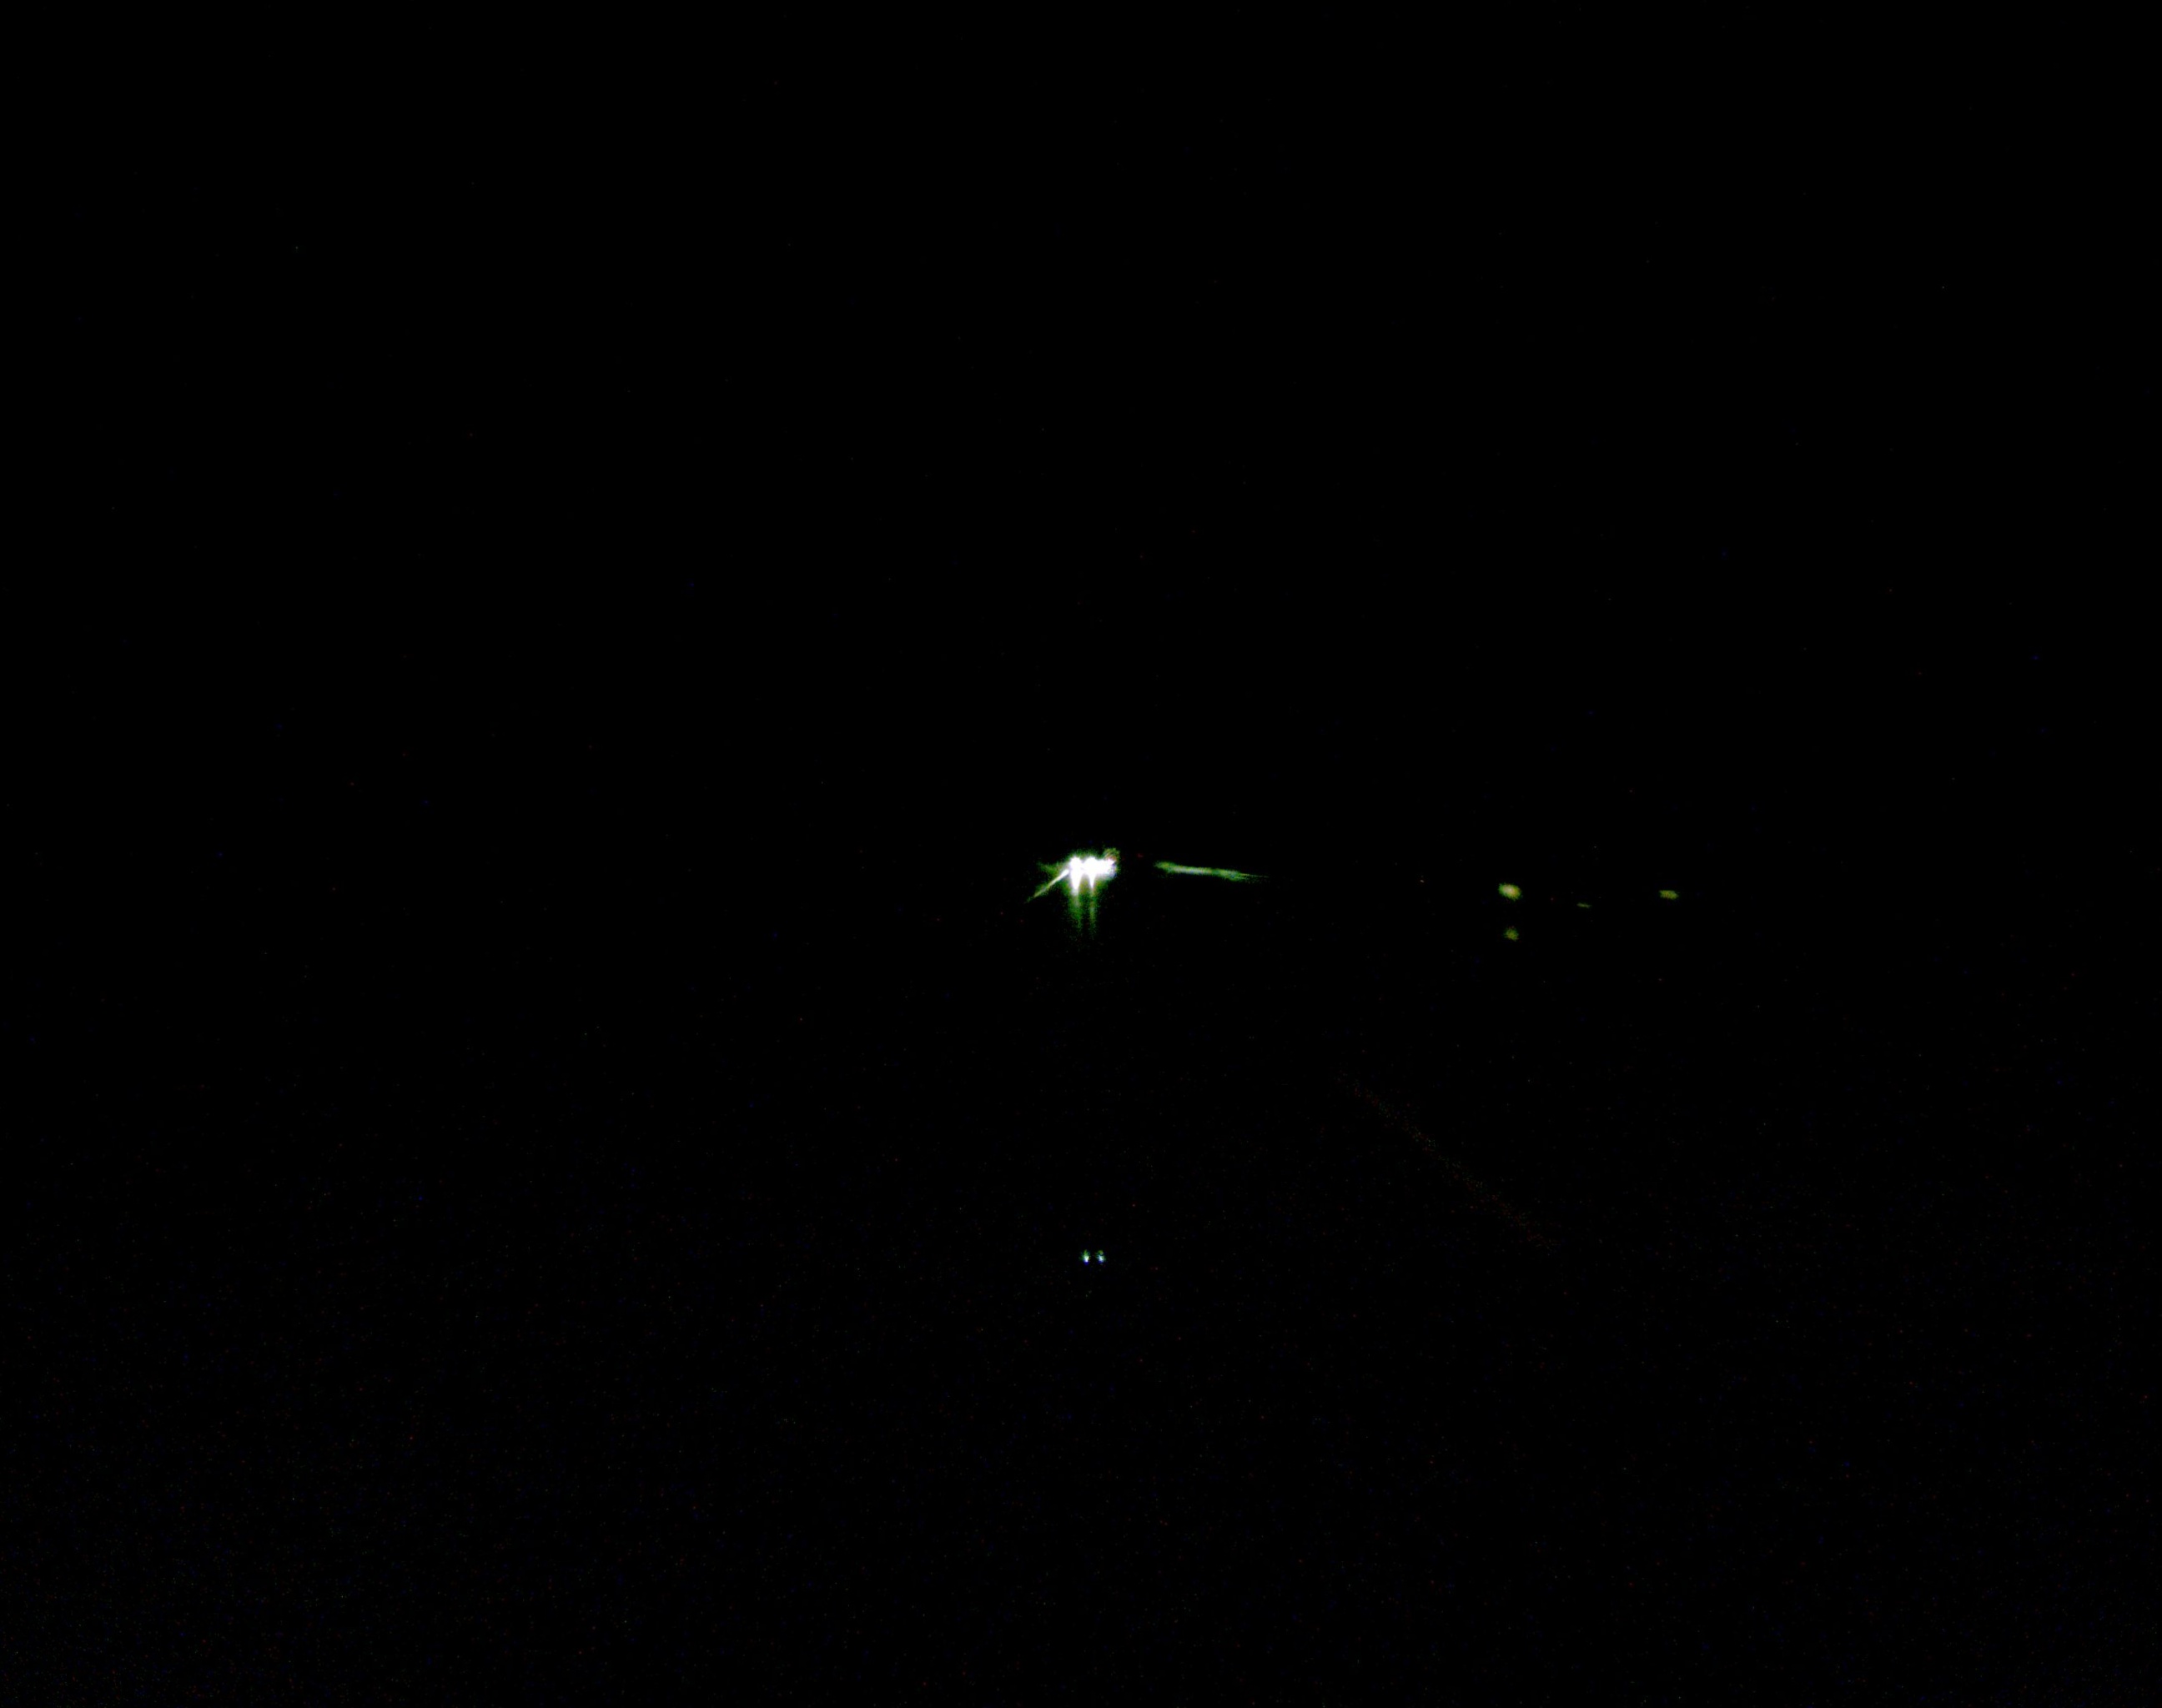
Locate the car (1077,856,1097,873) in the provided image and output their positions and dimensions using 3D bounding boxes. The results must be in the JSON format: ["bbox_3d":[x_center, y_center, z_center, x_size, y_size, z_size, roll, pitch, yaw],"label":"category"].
[{"bbox_3d":[0.669,1.152,84.014,1.998,1.724,4.000,3,1,2],"label":"car"}]
